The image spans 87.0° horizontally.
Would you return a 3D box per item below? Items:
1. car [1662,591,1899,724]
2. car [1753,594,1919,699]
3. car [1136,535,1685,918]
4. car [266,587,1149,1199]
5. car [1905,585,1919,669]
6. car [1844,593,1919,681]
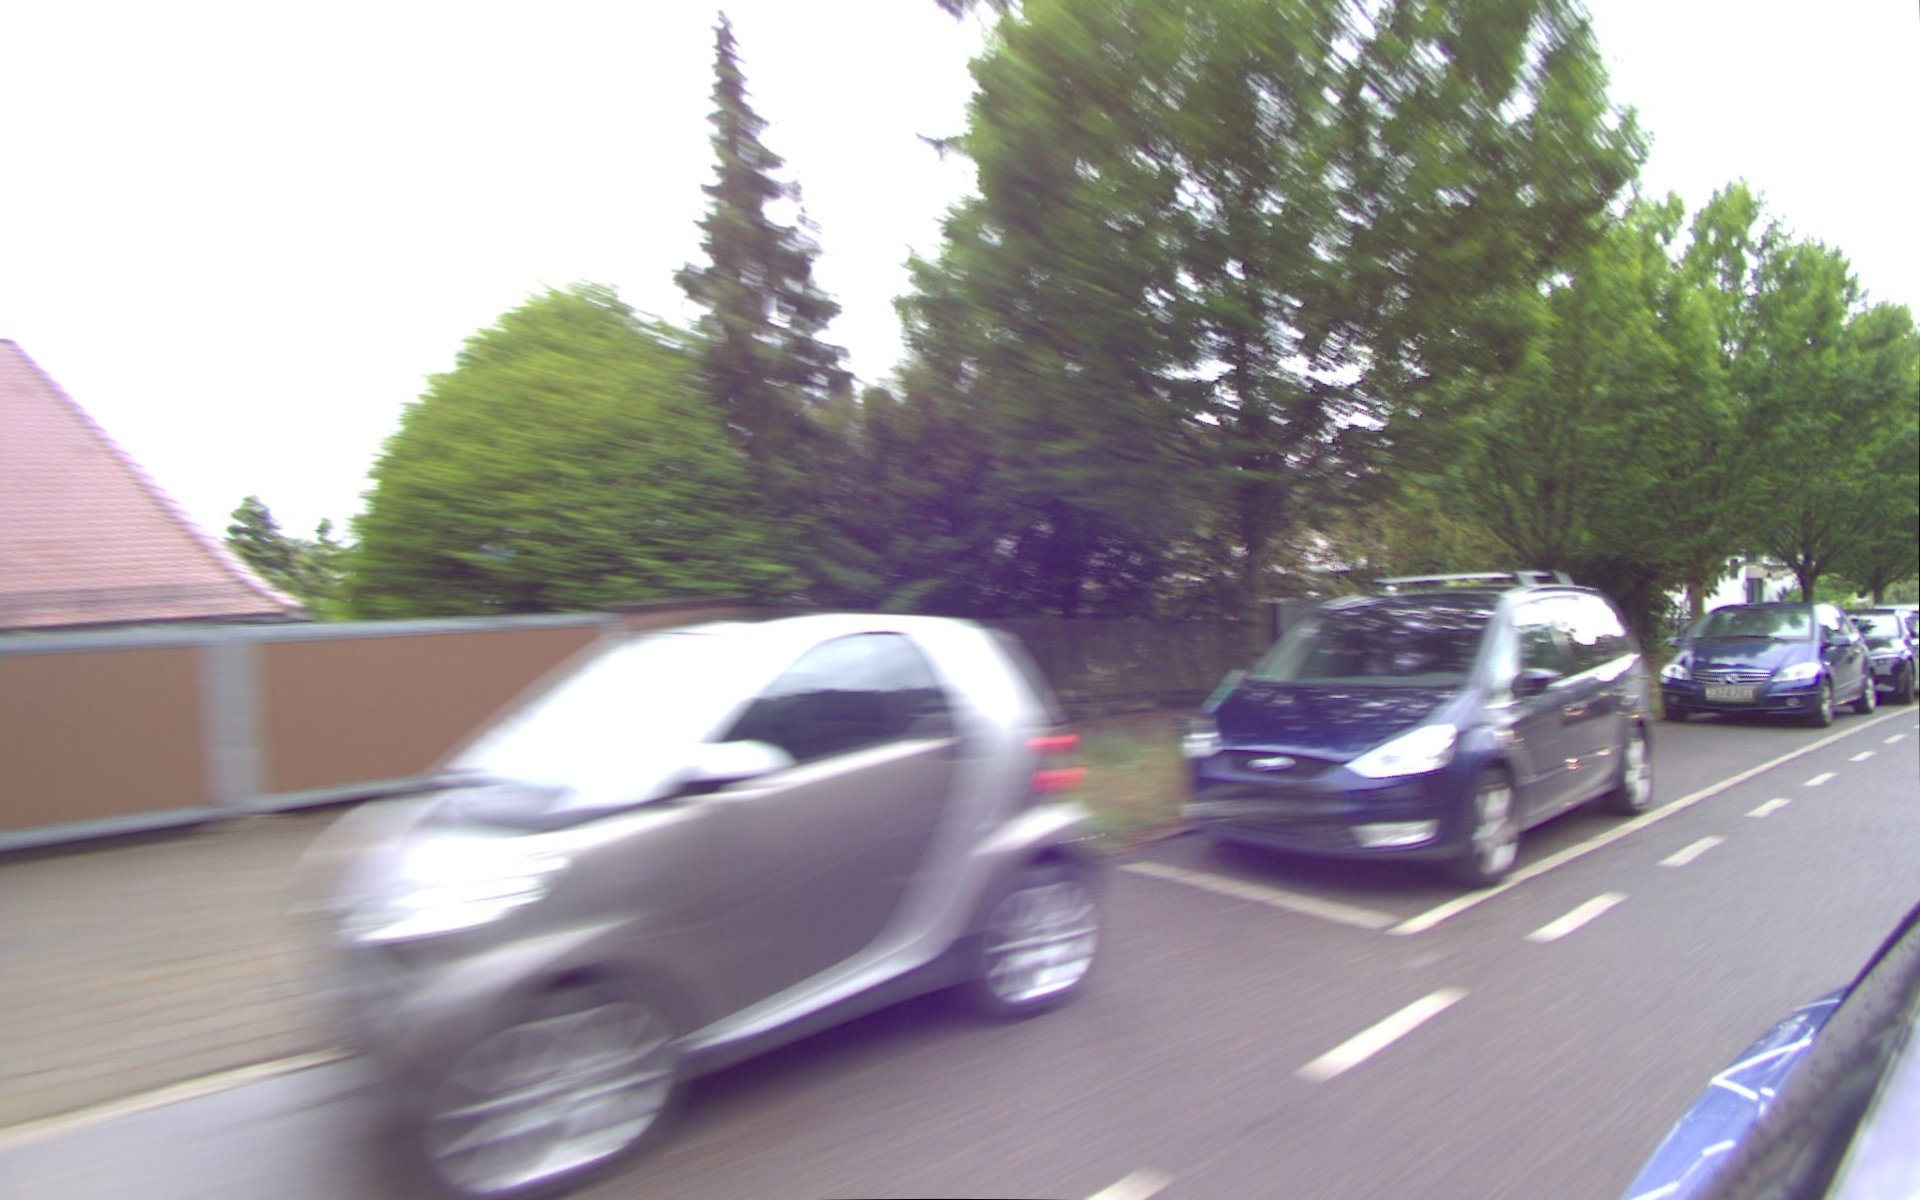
[{"bbox_3d":[11.411,0.712,14.010,3.850,1.591,1.697,0,-2,-38],"label":"car"},{"bbox_3d":[15.503,0.717,17.274,4.761,1.557,1.998,0,-2,-38],"label":"car"},{"bbox_3d":[3.358,0.616,7.010,4.599,1.806,1.782,0,-1,-43],"label":"car"},{"bbox_3d":[-0.823,0.768,3.903,2.904,1.578,1.599,0,-1,-41],"label":"car"},{"bbox_3d":[23.669,0.594,23.553,4.344,1.876,1.781,0,-2,-39],"label":"car"},{"bbox_3d":[19.149,0.694,20.120,4.150,1.630,1.786,0,-2,-41],"label":"car"}]
